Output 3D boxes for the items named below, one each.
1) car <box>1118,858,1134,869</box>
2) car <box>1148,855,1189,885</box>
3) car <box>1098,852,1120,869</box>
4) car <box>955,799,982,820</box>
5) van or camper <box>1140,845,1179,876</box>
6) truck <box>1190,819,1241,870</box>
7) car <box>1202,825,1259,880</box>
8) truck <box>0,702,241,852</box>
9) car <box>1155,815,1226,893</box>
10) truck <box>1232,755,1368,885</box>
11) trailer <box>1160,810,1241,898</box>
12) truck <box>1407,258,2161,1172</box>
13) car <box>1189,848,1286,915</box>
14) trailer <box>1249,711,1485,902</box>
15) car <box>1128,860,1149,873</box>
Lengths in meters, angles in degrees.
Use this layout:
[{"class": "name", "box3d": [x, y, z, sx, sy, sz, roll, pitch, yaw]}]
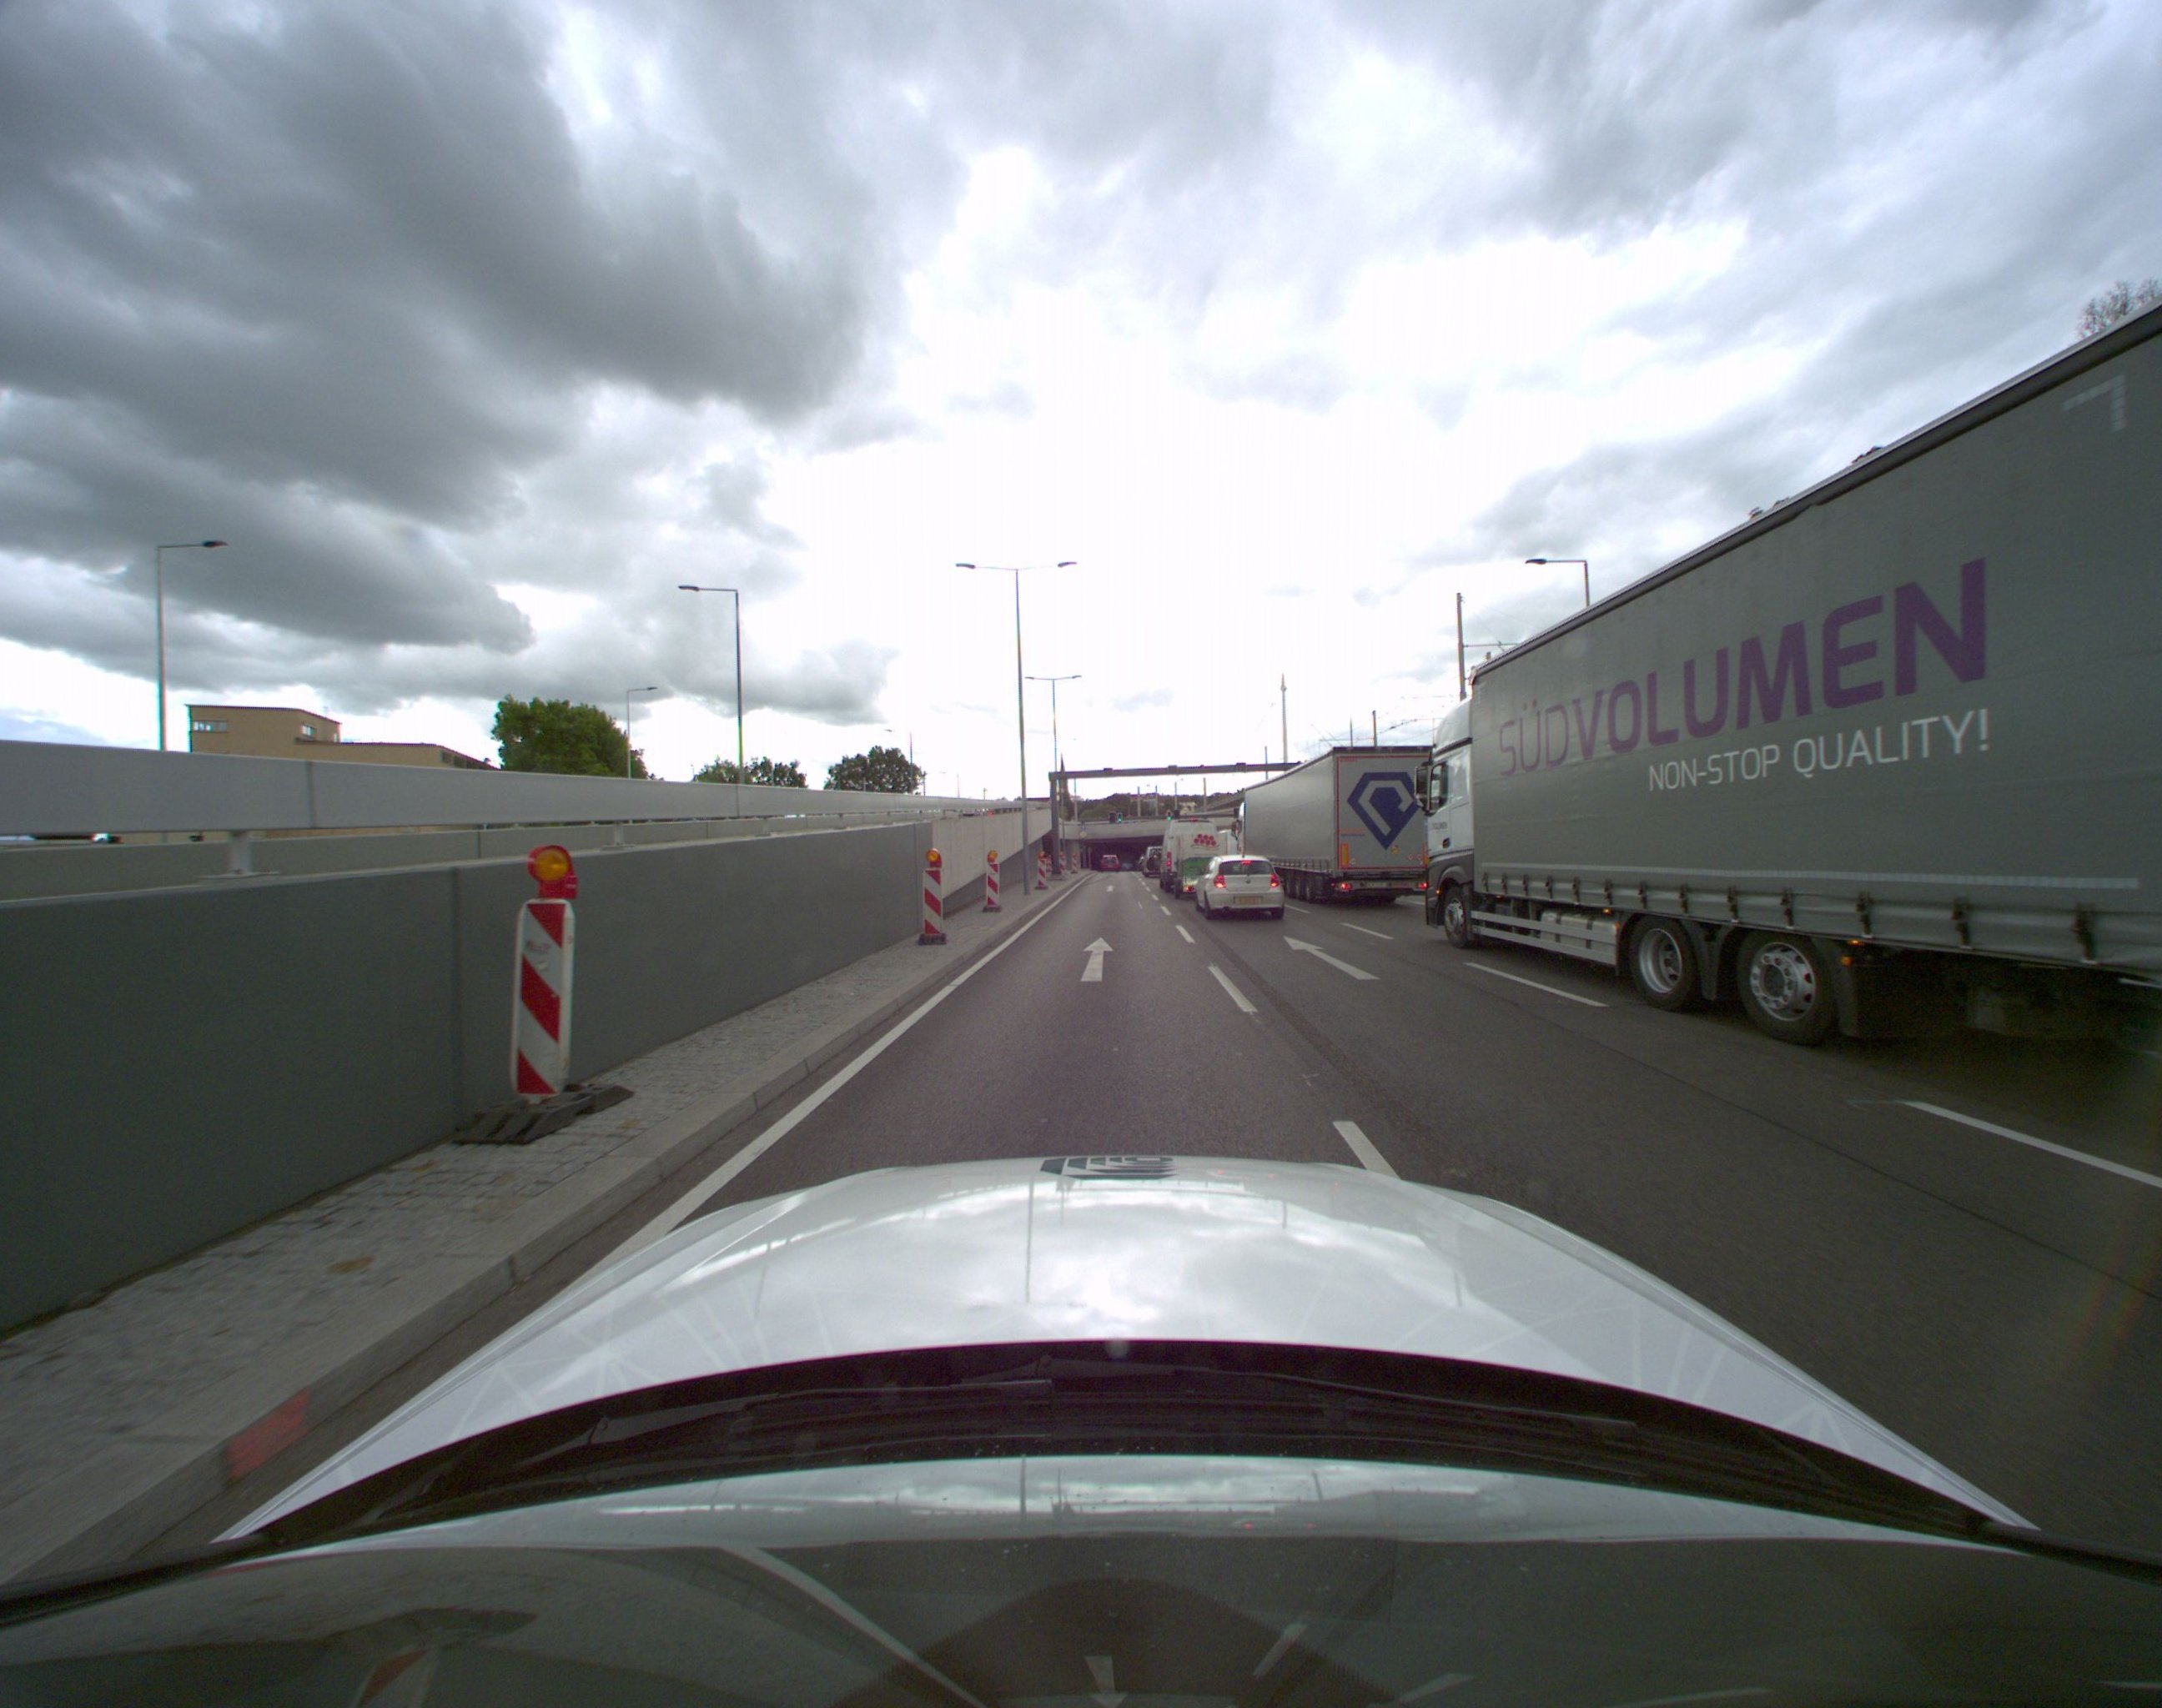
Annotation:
[{"class": "car", "box3d": [6.266, 1.352, 113.866, 1.988, 1.387, 3.998, -1, 1, -1]}, {"class": "car", "box3d": [4.712, 0.833, 44.093, 1.678, 1.544, 3.689, 0, 1, -3]}, {"class": "car", "box3d": [2.522, 0.616, 74.233, 1.657, 1.488, 3.561, -1, -1, -4]}, {"class": "car", "box3d": [-9.128, -3.648, 66.557, 1.739, 1.432, 3.773, 2, 0, -2]}, {"class": "van or camper", "box3d": [4.824, 0.405, 50.752, 1.986, 1.845, 5.509, 0, 0, 1]}, {"class": "truck", "box3d": [9.075, -0.587, 55.745, 2.638, 3.185, 7.433, -2, 0, 3]}, {"class": "car", "box3d": [8.268, -0.113, 45.797, 2.067, 2.773, 7.330, -1, 1, 2]}, {"class": "truck", "box3d": [-25.734, -1.757, 18.387, 2.726, 3.389, 10.613, 1, 3, -2]}, {"class": "car", "box3d": [4.063, -0.002, 31.206, 2.050, 2.628, 5.945, 2, 0, 2]}, {"class": "truck", "box3d": [8.523, -1.250, 32.870, 3.790, 4.631, 7.447, 0, 0, 3]}, {"class": "trailer", "box3d": [3.916, 0.002, 27.404, 2.095, 2.639, 4.812, 2, 0, 2]}, {"class": "truck", "box3d": [7.071, -0.668, 8.363, 3.708, 4.141, 10.995, 0, 0, 4]}, {"class": "car", "box3d": [3.629, 0.578, 19.565, 1.709, 1.398, 4.351, 1, 0, 3]}, {"class": "trailer", "box3d": [8.194, -1.193, 25.885, 3.789, 4.631, 12.123, 0, 0, 3]}, {"class": "car", "box3d": [5.641, 1.234, 79.842, 1.660, 1.247, 3.563, -1, -1, -3]}]
